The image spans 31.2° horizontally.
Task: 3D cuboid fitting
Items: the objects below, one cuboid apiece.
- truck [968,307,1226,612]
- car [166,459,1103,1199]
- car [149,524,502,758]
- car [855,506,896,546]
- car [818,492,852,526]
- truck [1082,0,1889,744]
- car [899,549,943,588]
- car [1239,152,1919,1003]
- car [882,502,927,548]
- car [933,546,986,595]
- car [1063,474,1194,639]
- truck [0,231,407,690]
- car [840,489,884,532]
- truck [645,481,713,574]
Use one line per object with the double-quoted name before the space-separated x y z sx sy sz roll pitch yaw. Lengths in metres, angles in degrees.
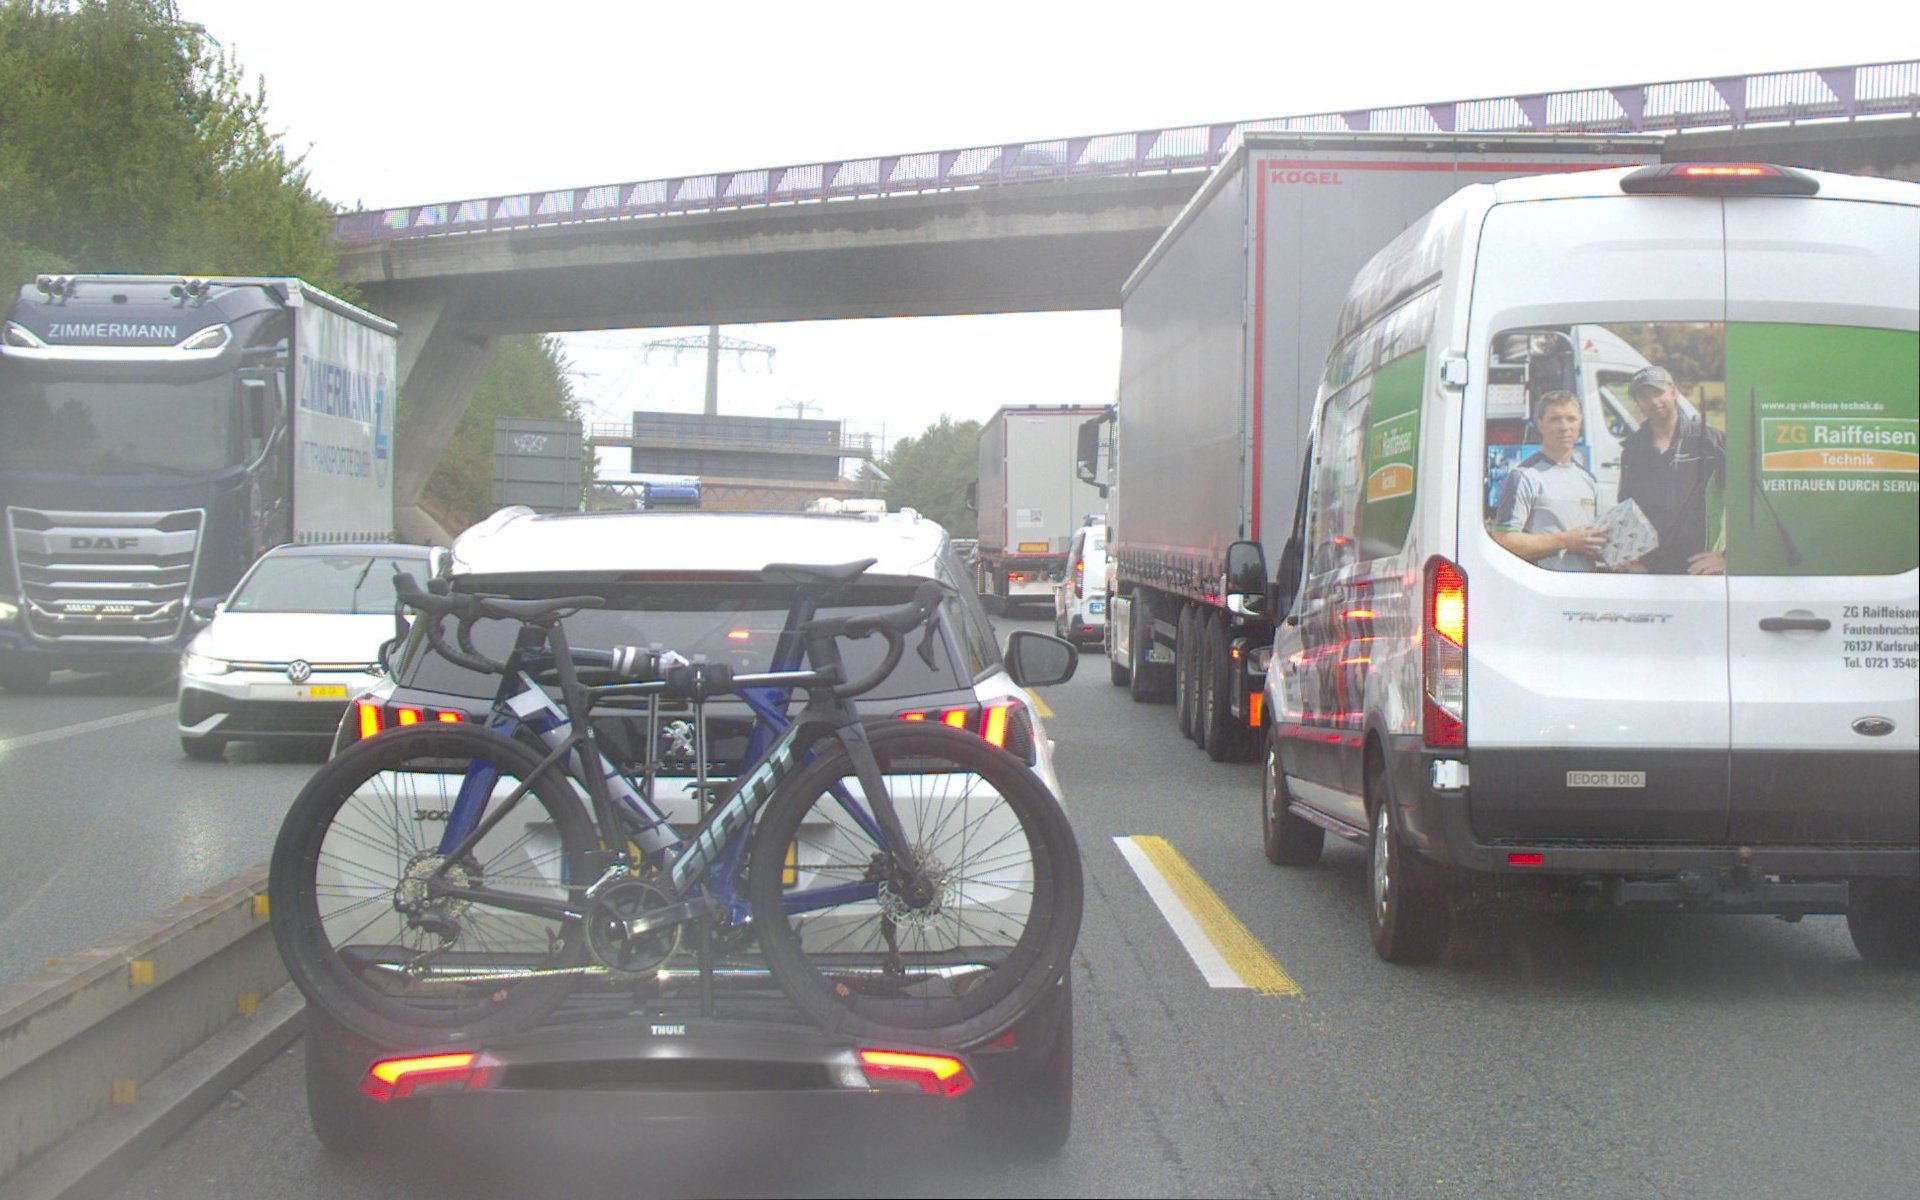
"truck" 2.767 -2.741 74.500 4.743 5.654 20.375 1 1 1
"car" -0.592 0.527 9.008 1.810 1.632 4.635 1 1 1
"car" -4.349 0.243 24.143 1.938 1.489 4.001 1 1 -3
"car" -4.311 -3.779 176.060 1.993 2.007 4.000 1 1 0
"car" -8.064 -5.838 221.448 1.993 2.119 4.527 1 1 0
"truck" 3.441 -2.125 30.287 3.979 5.654 20.376 1 1 0
"car" -1.511 -1.255 134.763 1.638 1.492 3.666 1 1 0
"car" 2.447 -0.103 13.926 2.144 2.667 6.117 1 1 0
"car" -2.492 -3.359 154.884 1.993 2.007 4.000 1 1 0
"car" -0.014 -0.930 108.149 1.638 1.492 3.666 1 1 0
"car" 2.316 -0.608 48.149 1.670 2.173 4.535 1 1 1
"truck" -7.750 -1.314 35.998 2.464 4.109 10.089 1 1 -1
"car" -5.359 -4.901 188.815 2.239 2.299 4.572 1 1 0
"truck" -12.887 -3.304 158.329 2.464 4.109 10.089 1 1 -1
